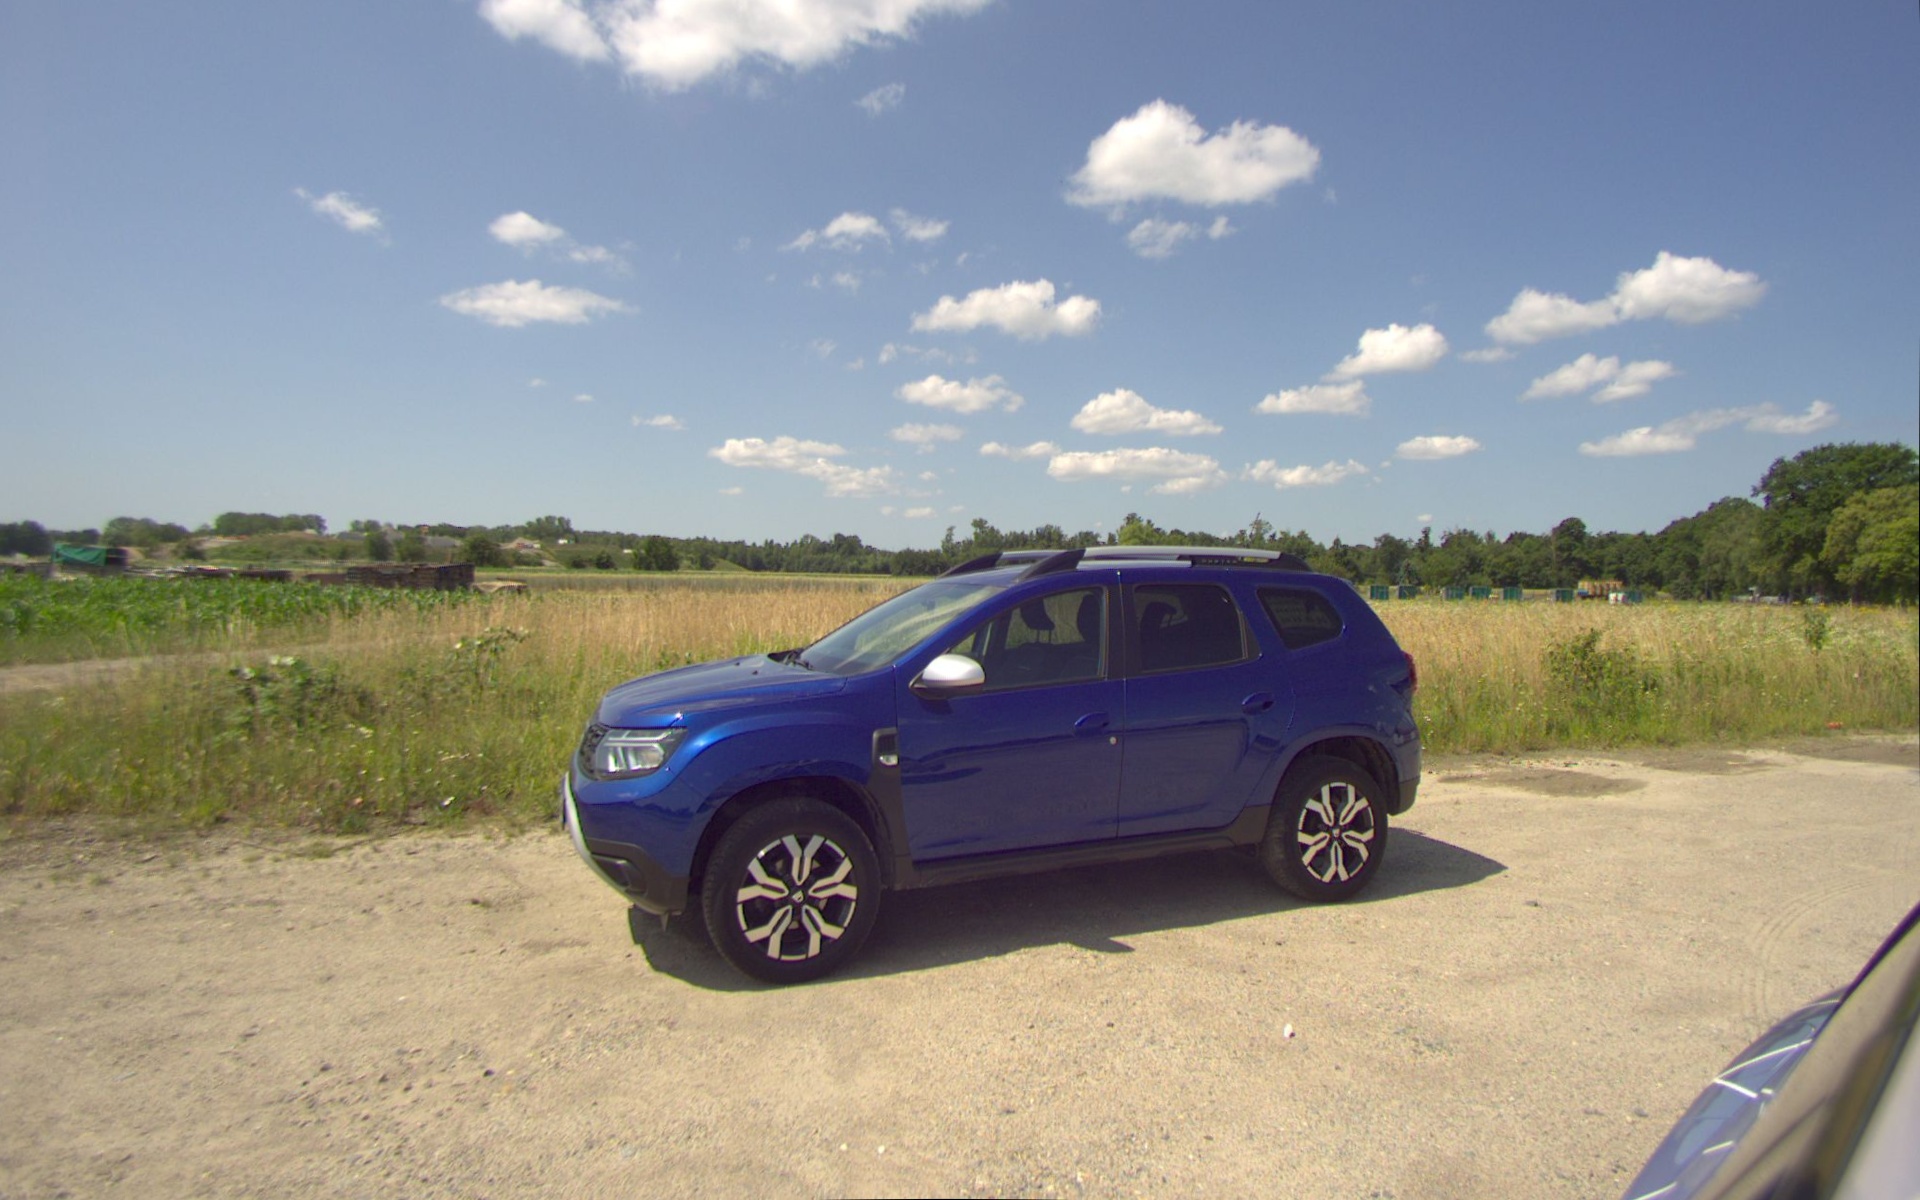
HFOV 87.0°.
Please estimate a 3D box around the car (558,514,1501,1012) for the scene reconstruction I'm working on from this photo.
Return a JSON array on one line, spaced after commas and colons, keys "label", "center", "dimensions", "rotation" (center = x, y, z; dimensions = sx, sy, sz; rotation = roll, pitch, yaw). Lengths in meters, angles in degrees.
[{"label": "car", "center": [0.328, 0.521, 5.098], "dimensions": [4.365, 1.682, 1.868], "rotation": [0, 1, -22]}]
